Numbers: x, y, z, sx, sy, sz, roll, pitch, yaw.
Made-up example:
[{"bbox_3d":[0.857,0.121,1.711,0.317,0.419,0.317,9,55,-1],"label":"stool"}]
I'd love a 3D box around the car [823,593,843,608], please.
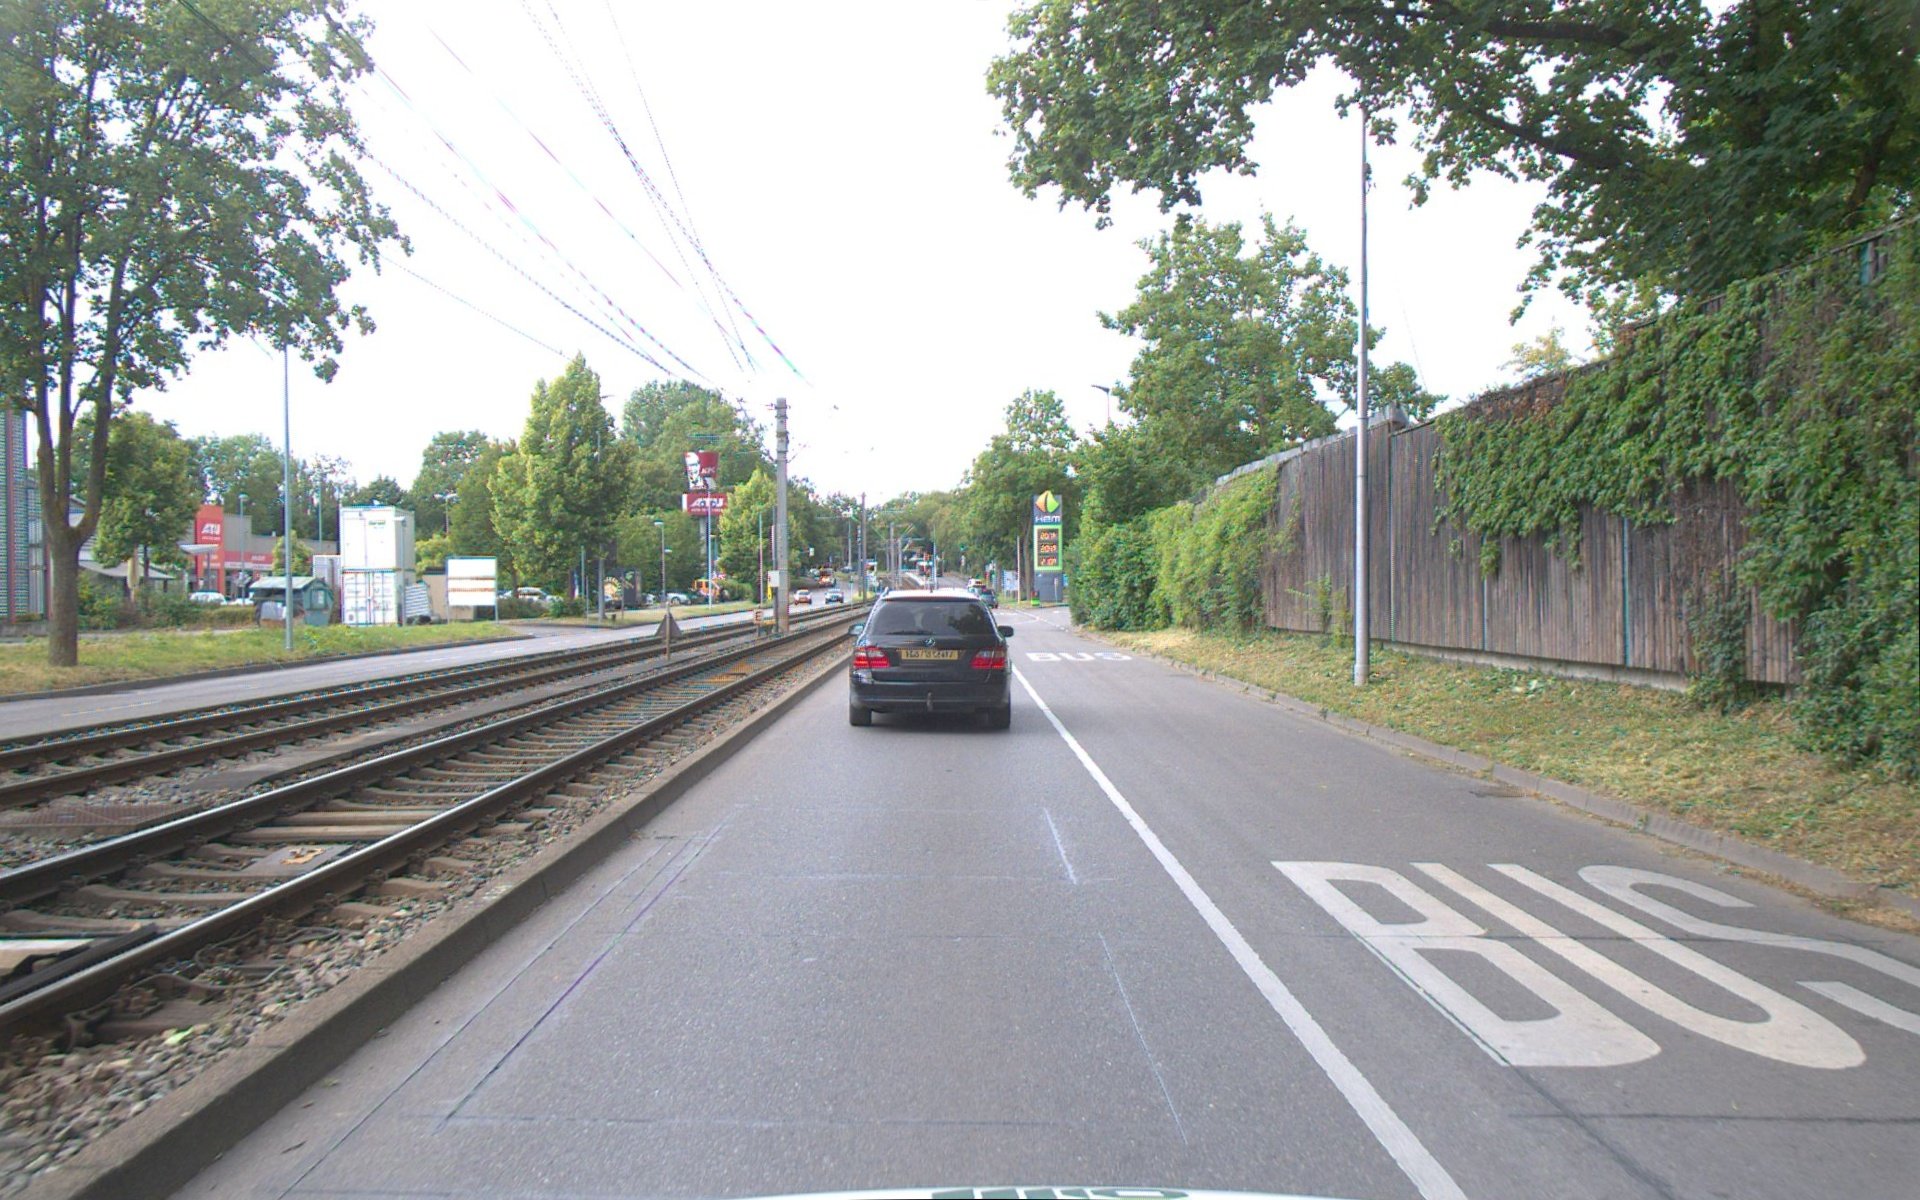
[{"bbox_3d":[-12.869,0.044,167.838,1.723,1.425,4.442,-3,0,-1],"label":"car"}]

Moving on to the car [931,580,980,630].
[{"bbox_3d":[-0.185,0.182,61.703,1.744,1.781,3.717,1,0,-1],"label":"car"}]

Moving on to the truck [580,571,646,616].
[{"bbox_3d":[-23.230,-0.446,110.766,3.908,2.871,2.375,-1,0,-3],"label":"truck"}]

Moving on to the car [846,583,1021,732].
[{"bbox_3d":[-0.279,0.578,18.753,1.771,1.500,3.880,0,0,0],"label":"car"}]

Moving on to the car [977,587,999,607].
[{"bbox_3d":[2.105,-0.187,123.423,1.539,1.439,3.354,1,0,-1],"label":"car"}]

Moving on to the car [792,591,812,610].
[{"bbox_3d":[-16.029,0.031,167.727,1.756,1.803,3.998,-1,0,-2],"label":"car"}]

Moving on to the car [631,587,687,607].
[{"bbox_3d":[-24.345,-0.259,133.713,4.220,1.497,1.679,-1,0,-3],"label":"car"}]

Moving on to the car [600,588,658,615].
[{"bbox_3d":[-24.118,0.094,120.477,3.909,1.829,1.876,-1,0,-5],"label":"car"}]

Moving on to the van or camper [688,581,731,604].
[{"bbox_3d":[-24.197,-0.691,159.840,3.909,2.172,1.876,0,0,-5],"label":"van or camper"}]

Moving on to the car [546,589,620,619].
[{"bbox_3d":[-23.206,0.231,101.918,4.136,1.757,1.995,-1,0,-3],"label":"car"}]

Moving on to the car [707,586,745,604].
[{"bbox_3d":[-24.893,-0.518,176.105,3.909,1.829,1.876,-2,0,-5],"label":"car"}]
